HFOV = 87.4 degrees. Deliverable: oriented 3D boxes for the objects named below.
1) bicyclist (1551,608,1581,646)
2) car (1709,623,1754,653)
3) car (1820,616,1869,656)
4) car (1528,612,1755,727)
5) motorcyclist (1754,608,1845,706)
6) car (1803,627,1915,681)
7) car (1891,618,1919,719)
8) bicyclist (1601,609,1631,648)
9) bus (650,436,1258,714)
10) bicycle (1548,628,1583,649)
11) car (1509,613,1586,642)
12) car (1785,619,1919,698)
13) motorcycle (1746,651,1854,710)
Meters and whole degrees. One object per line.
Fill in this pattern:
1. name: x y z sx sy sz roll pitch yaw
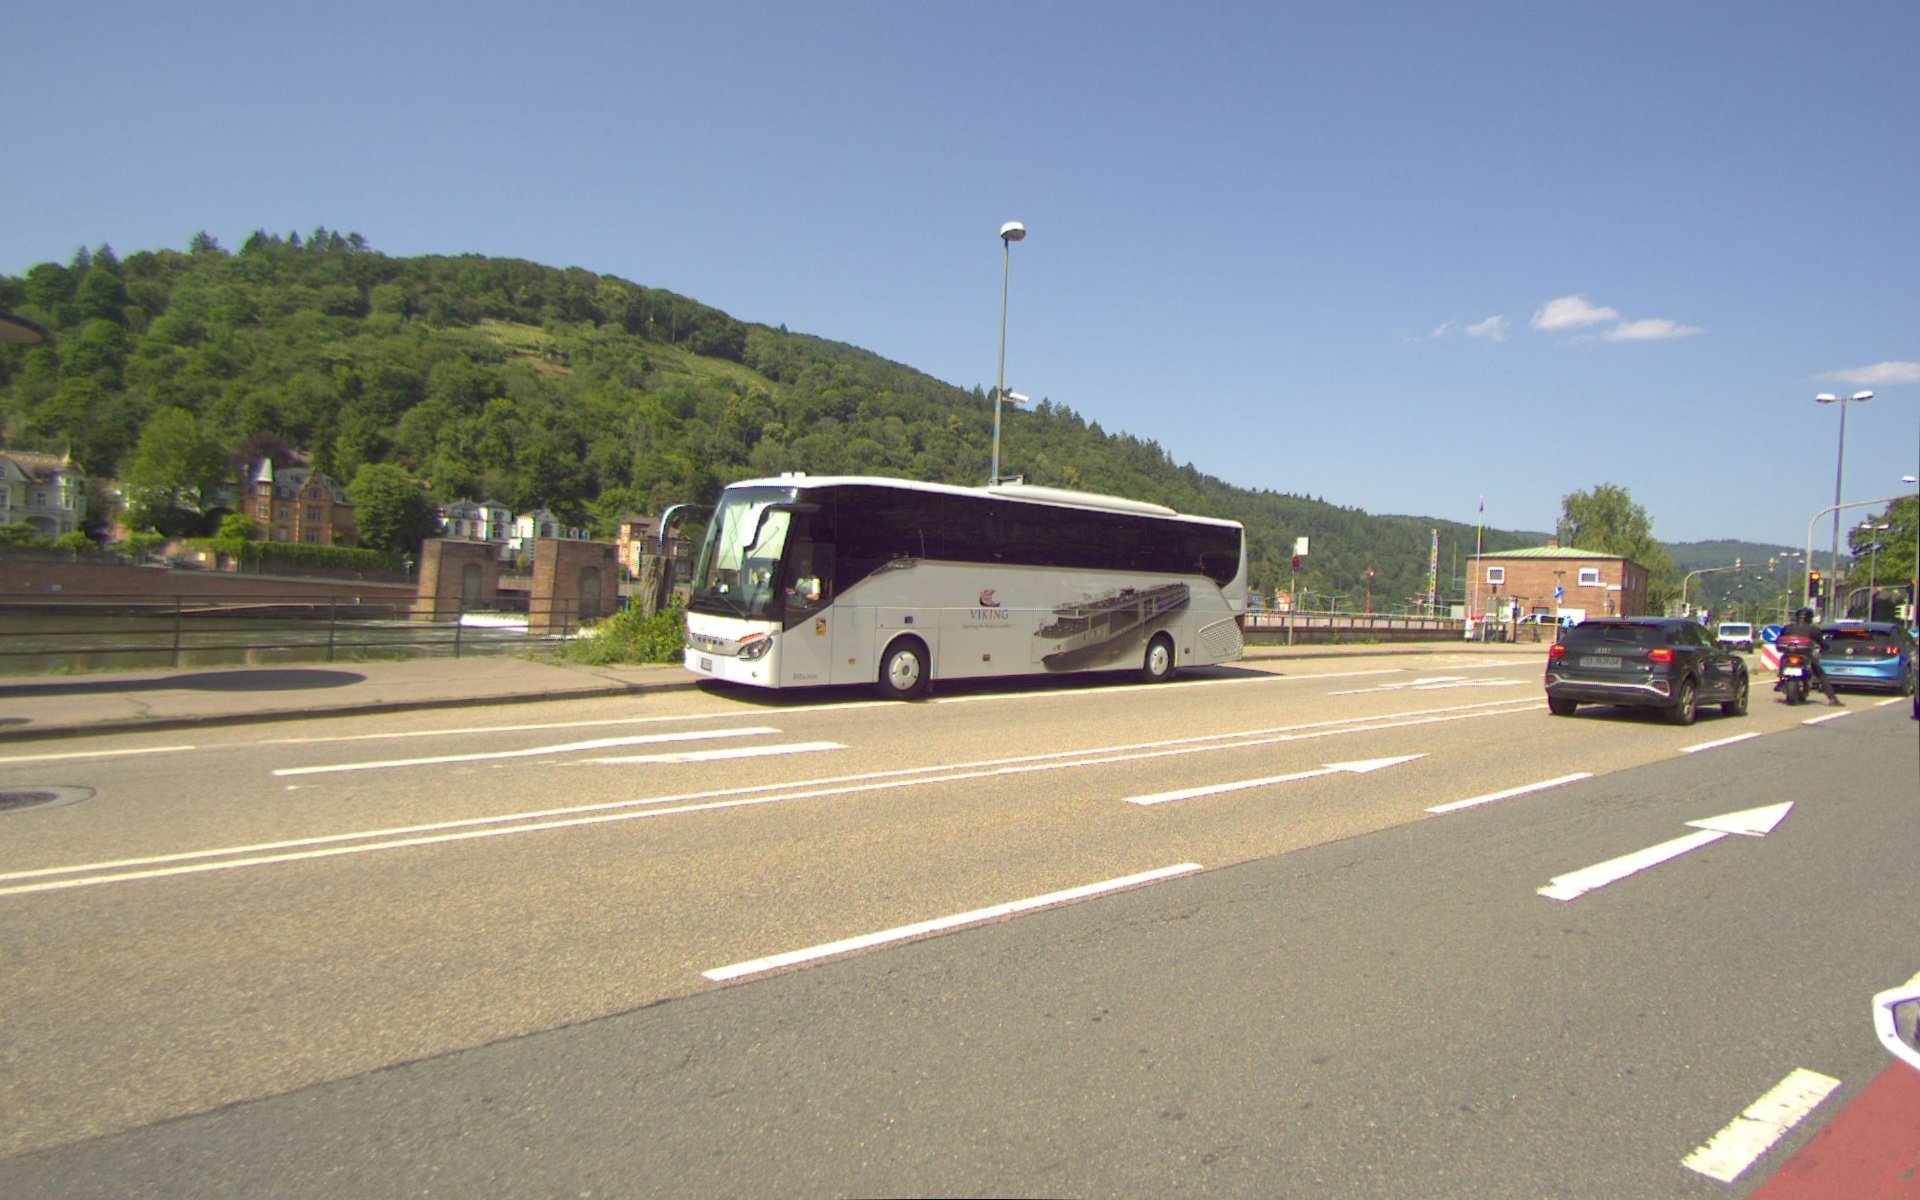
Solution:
1. bicyclist: 33.012 1.465 54.677 1.199 2.040 1.112 1 0 42
2. car: 57.022 2.766 74.175 2.190 2.106 5.015 0 -1 43
3. car: 62.183 2.503 70.711 2.355 2.610 6.028 0 -1 39
4. car: 10.635 0.998 15.582 4.116 1.534 1.854 2 -1 -40
5. motorcyclist: 15.409 1.012 18.444 1.146 1.707 1.067 1 0 -38
6. car: 25.427 1.481 28.377 3.968 1.377 1.851 1 0 -40
7. car: 16.734 1.116 16.205 4.268 1.541 1.874 2 0 -38
8. bicyclist: 35.750 1.541 54.772 1.199 2.040 1.112 1 0 42
9. bus: 0.890 -0.349 19.458 13.149 3.852 2.928 1 3 -43
10. bicycle: 32.904 2.074 54.559 1.199 1.105 2.584 0 -1 41
11. car: 43.845 2.035 75.009 4.524 2.040 2.001 1 0 10
12. car: 20.238 1.243 22.653 3.968 1.583 1.851 1 0 -40
13. motorcycle: 15.522 1.451 18.538 2.582 0.932 1.030 1 0 -38
